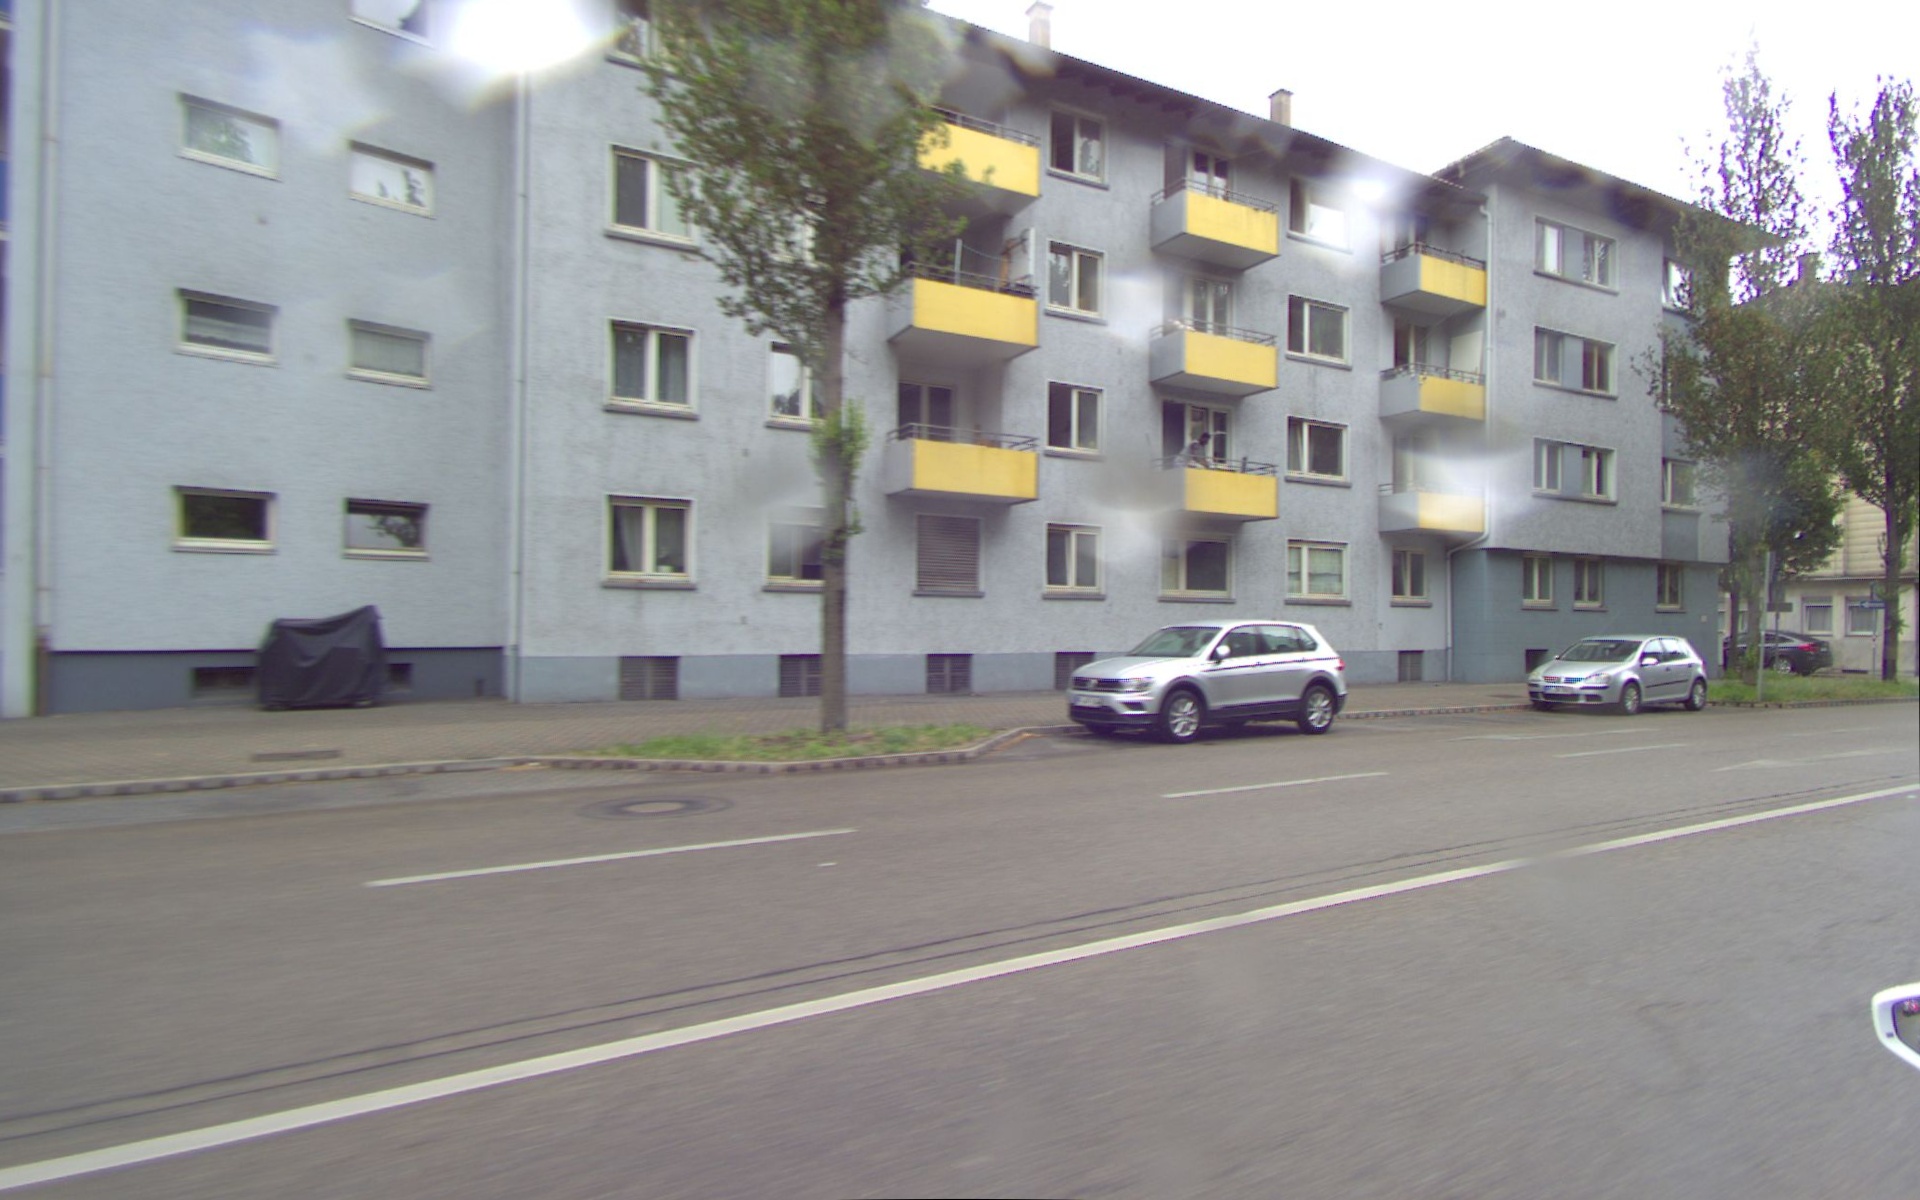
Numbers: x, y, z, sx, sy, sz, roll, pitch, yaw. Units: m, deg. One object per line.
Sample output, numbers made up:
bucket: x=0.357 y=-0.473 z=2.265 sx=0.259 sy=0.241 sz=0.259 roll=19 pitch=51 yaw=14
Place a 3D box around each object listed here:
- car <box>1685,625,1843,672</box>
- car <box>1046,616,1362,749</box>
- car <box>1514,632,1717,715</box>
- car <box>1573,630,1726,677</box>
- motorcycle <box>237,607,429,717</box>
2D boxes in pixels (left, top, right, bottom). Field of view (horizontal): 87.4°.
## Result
car: x=29.440 y=1.728 z=36.903 sx=1.901 sy=1.600 sz=4.135 roll=0 pitch=-1 yaw=-26
car: x=3.536 y=1.082 z=14.293 sx=4.482 sy=1.625 sz=1.755 roll=1 pitch=-2 yaw=-32
car: x=12.908 y=1.387 z=19.734 sx=4.157 sy=1.472 sz=1.716 roll=2 pitch=-2 yaw=-31
car: x=23.382 y=1.820 z=34.213 sx=3.920 sy=1.513 sz=1.714 roll=0 pitch=-3 yaw=17
motorcycle: x=-8.851 y=0.844 z=14.249 sx=2.218 sy=1.433 sz=0.669 roll=1 pitch=1 yaw=-40
